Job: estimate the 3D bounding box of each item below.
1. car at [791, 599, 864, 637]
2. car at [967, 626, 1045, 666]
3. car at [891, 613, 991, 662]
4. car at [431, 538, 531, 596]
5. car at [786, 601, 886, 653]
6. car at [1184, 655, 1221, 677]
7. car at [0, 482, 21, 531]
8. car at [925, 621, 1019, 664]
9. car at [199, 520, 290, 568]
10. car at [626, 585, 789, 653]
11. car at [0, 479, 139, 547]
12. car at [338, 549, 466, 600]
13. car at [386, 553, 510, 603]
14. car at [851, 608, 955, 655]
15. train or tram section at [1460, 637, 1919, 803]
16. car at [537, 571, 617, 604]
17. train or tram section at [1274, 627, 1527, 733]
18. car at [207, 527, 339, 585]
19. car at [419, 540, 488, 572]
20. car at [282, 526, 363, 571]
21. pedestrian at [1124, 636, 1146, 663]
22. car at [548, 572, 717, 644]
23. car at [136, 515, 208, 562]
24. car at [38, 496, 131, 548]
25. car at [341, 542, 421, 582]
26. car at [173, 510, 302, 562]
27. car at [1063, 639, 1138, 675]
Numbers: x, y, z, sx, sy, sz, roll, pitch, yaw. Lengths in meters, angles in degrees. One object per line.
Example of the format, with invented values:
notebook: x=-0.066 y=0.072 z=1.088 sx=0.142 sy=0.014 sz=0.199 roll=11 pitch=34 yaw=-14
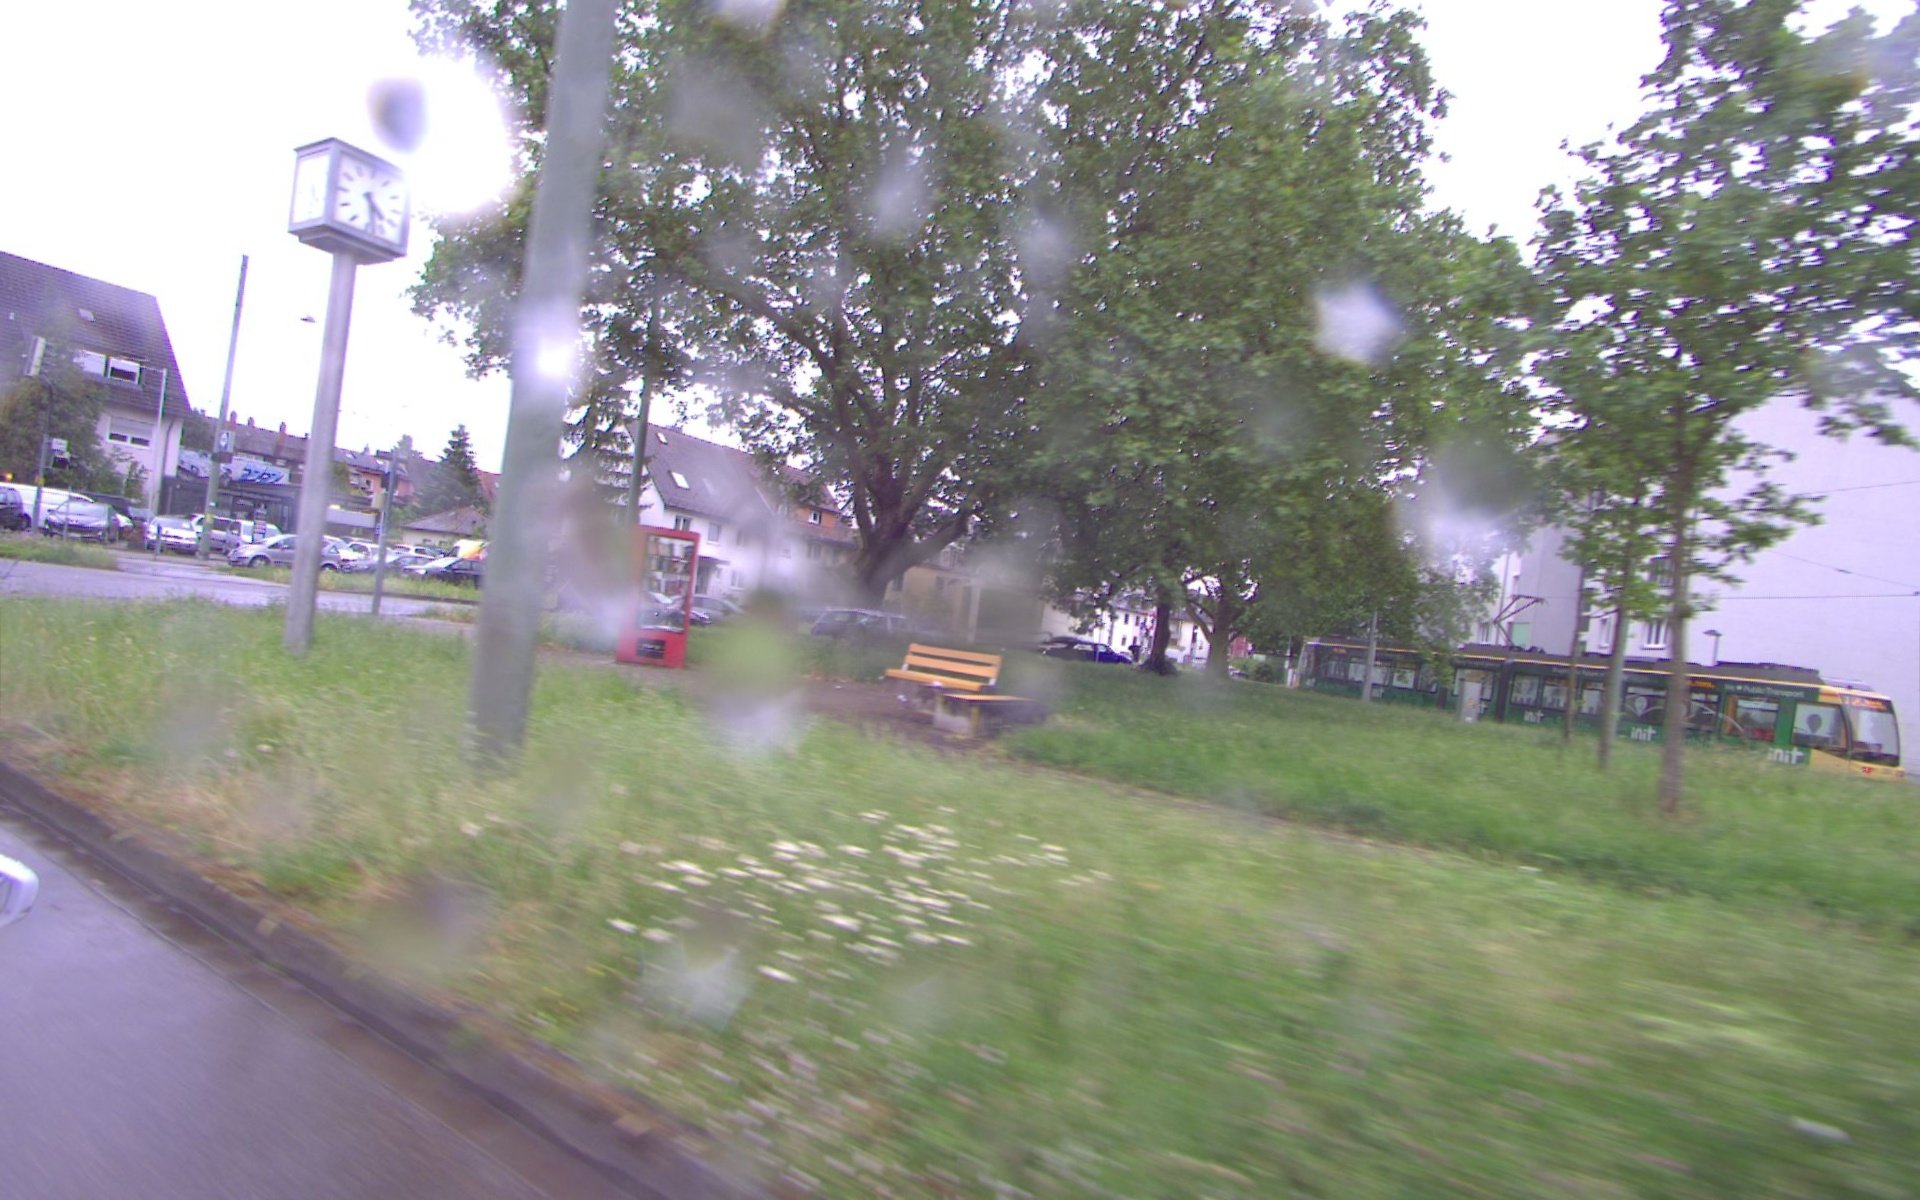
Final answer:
car: x=-7.985 y=1.107 z=60.919 sx=1.965 sy=1.622 sz=4.574 roll=7 pitch=-3 yaw=28
car: x=2.216 y=2.197 z=48.147 sx=3.530 sy=1.498 sz=1.639 roll=6 pitch=-1 yaw=5
car: x=-0.840 y=1.583 z=42.368 sx=3.930 sy=1.570 sz=1.961 roll=7 pitch=-3 yaw=-6
car: x=-25.909 y=-1.781 z=54.365 sx=5.062 sy=2.432 sz=2.151 roll=7 pitch=-3 yaw=31
car: x=-4.541 y=1.023 z=37.206 sx=3.453 sy=1.523 sz=1.755 roll=6 pitch=-2 yaw=-5
car: x=20.794 y=5.678 z=86.109 sx=1.928 sy=1.570 sz=3.997 roll=5 pitch=-3 yaw=29
car: x=-35.181 y=-3.473 z=35.363 sx=1.976 sy=1.737 sz=3.974 roll=7 pitch=-1 yaw=-26
car: x=0.512 y=1.922 z=45.499 sx=4.046 sy=1.498 sz=1.867 roll=6 pitch=-1 yaw=-1
car: x=-30.950 y=-2.420 z=43.521 sx=3.808 sy=1.598 sz=1.804 roll=7 pitch=0 yaw=32
car: x=-7.828 y=0.608 z=31.469 sx=4.463 sy=1.494 sz=1.805 roll=7 pitch=-1 yaw=5
car: x=-36.982 y=-3.544 z=41.394 sx=1.968 sy=2.037 sz=4.438 roll=6 pitch=-2 yaw=33
car: x=-23.576 y=-1.044 z=42.668 sx=1.695 sy=1.353 sz=4.386 roll=7 pitch=-4 yaw=32
car: x=-20.930 y=-0.858 z=41.269 sx=1.966 sy=1.494 sz=3.995 roll=7 pitch=-1 yaw=29
car: x=-2.302 y=1.250 z=39.979 sx=3.928 sy=1.518 sz=1.824 roll=5 pitch=-2 yaw=-6
train or tram section: x=23.555 y=3.507 z=34.209 sx=2.672 sy=3.630 sz=14.707 roll=9 pitch=-2 yaw=-12
car: x=-22.217 y=-0.704 z=58.451 sx=1.966 sy=1.585 sz=3.884 roll=7 pitch=2 yaw=30
train or tram section: x=20.409 y=3.488 z=48.580 sx=2.672 sy=3.630 sz=14.707 roll=9 pitch=-2 yaw=-12
car: x=-26.107 y=-1.636 z=38.319 sx=1.693 sy=1.520 sz=3.644 roll=7 pitch=-3 yaw=29
car: x=-34.441 y=-2.974 z=68.525 sx=1.759 sy=1.599 sz=4.452 roll=6 pitch=-2 yaw=9
car: x=-29.369 y=-2.368 z=46.329 sx=3.559 sy=1.590 sz=1.720 roll=6 pitch=-3 yaw=34
pedestrian: x=11.811 y=3.342 z=67.865 sx=1.029 sy=1.734 sz=1.079 roll=6 pitch=-1 yaw=27
car: x=-9.364 y=0.245 z=28.988 sx=4.099 sy=1.494 sz=1.805 roll=7 pitch=-1 yaw=1
car: x=-31.973 y=-2.500 z=40.785 sx=1.824 sy=1.521 sz=4.009 roll=11 pitch=-4 yaw=-43
car: x=-33.356 y=-2.923 z=38.447 sx=1.816 sy=1.520 sz=4.028 roll=10 pitch=-3 yaw=-31
car: x=-27.679 y=-1.815 z=48.068 sx=3.781 sy=1.411 sz=1.721 roll=6 pitch=-3 yaw=34
car: x=-33.383 y=-2.930 z=46.605 sx=1.732 sy=1.707 sz=4.438 roll=6 pitch=-2 yaw=33
car: x=8.140 y=3.306 z=58.629 sx=3.926 sy=1.502 sz=1.999 roll=7 pitch=0 yaw=-1
